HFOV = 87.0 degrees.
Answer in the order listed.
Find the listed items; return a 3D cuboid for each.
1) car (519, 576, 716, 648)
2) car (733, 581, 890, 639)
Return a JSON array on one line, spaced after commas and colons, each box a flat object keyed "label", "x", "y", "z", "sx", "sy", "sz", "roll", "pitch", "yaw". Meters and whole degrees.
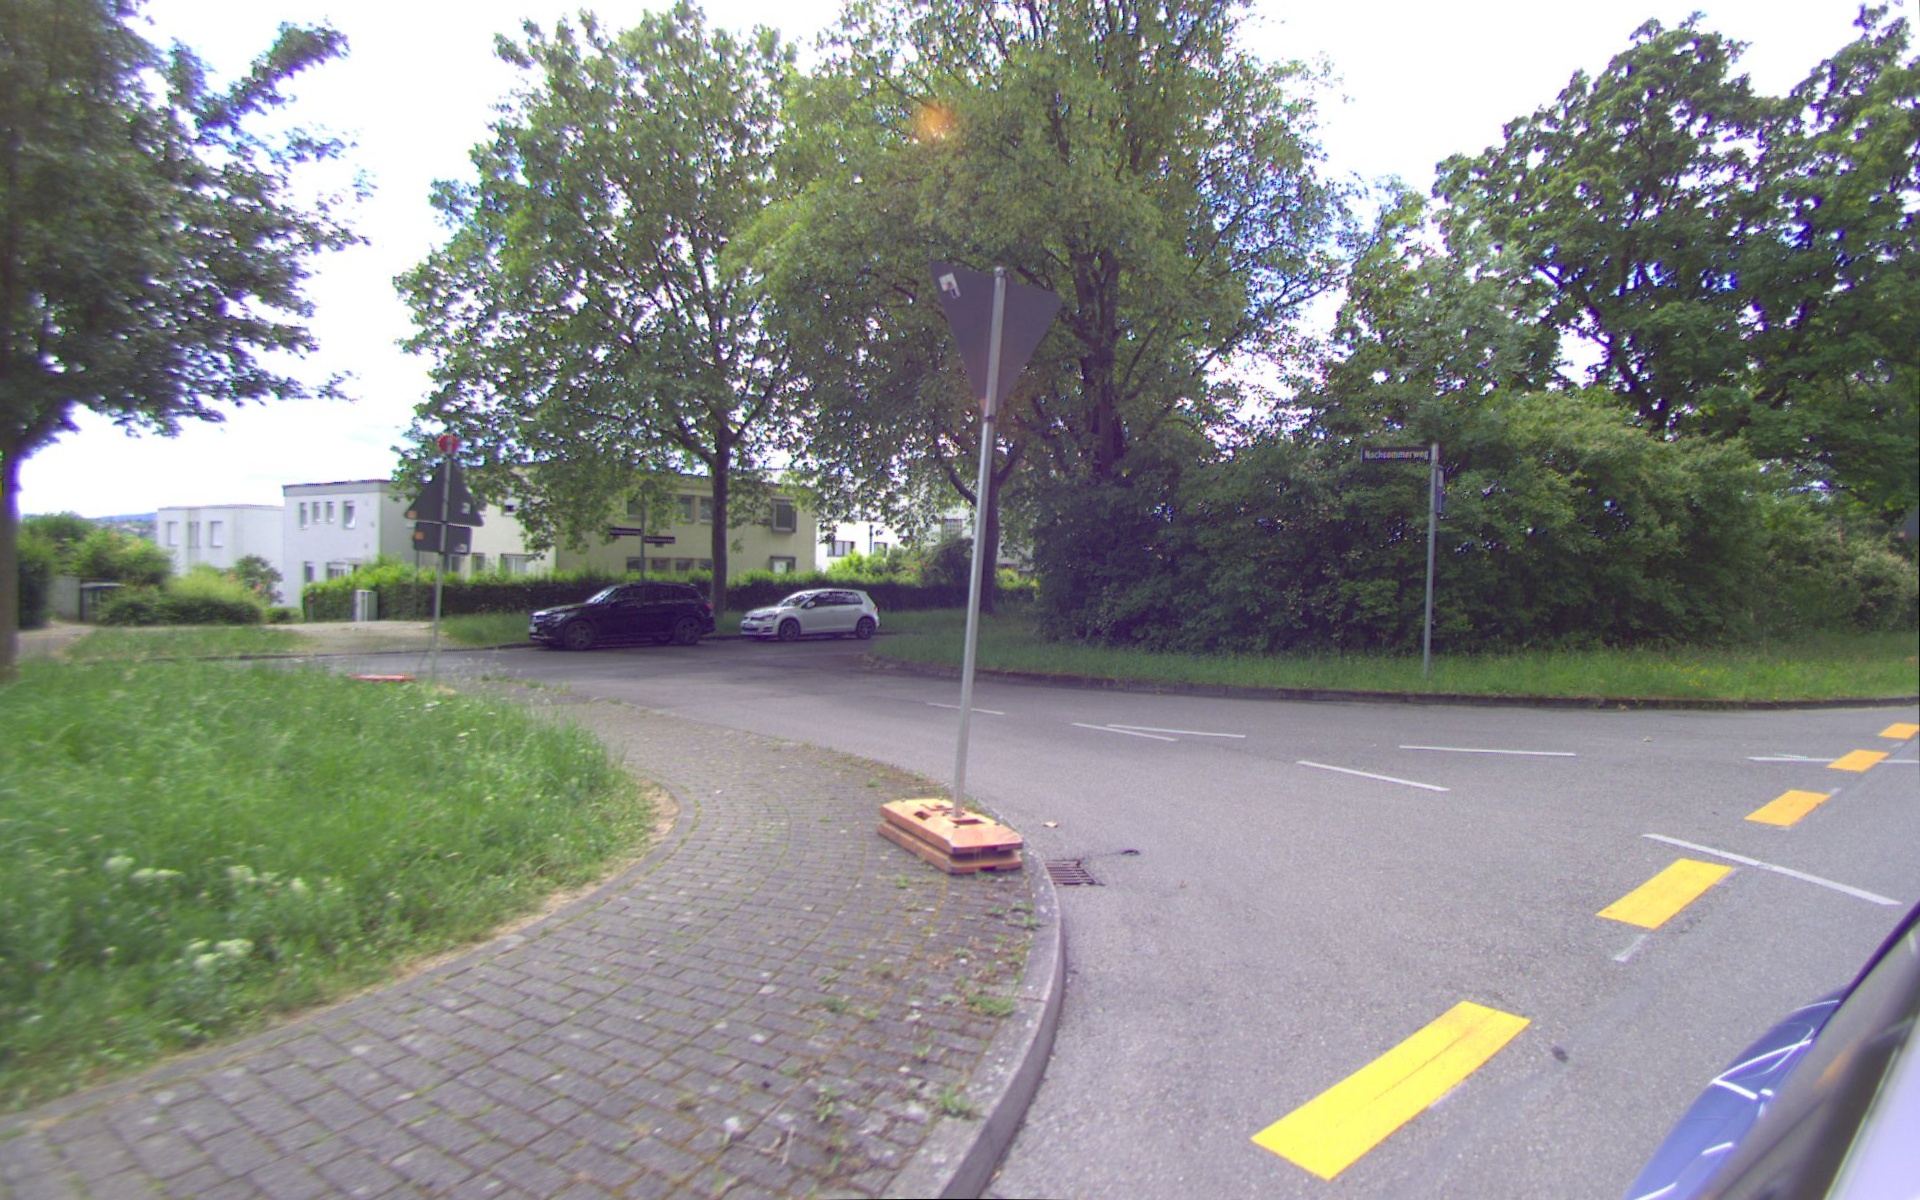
[{"label": "car", "x": -8.640, "y": 0.249, "z": 25.753, "sx": 4.368, "sy": 1.638, "sz": 1.896, "roll": 0, "pitch": 3, "yaw": -41}, {"label": "car", "x": -4.267, "y": 0.253, "z": 29.370, "sx": 4.169, "sy": 1.504, "sz": 1.826, "roll": 0, "pitch": 3, "yaw": -41}]
